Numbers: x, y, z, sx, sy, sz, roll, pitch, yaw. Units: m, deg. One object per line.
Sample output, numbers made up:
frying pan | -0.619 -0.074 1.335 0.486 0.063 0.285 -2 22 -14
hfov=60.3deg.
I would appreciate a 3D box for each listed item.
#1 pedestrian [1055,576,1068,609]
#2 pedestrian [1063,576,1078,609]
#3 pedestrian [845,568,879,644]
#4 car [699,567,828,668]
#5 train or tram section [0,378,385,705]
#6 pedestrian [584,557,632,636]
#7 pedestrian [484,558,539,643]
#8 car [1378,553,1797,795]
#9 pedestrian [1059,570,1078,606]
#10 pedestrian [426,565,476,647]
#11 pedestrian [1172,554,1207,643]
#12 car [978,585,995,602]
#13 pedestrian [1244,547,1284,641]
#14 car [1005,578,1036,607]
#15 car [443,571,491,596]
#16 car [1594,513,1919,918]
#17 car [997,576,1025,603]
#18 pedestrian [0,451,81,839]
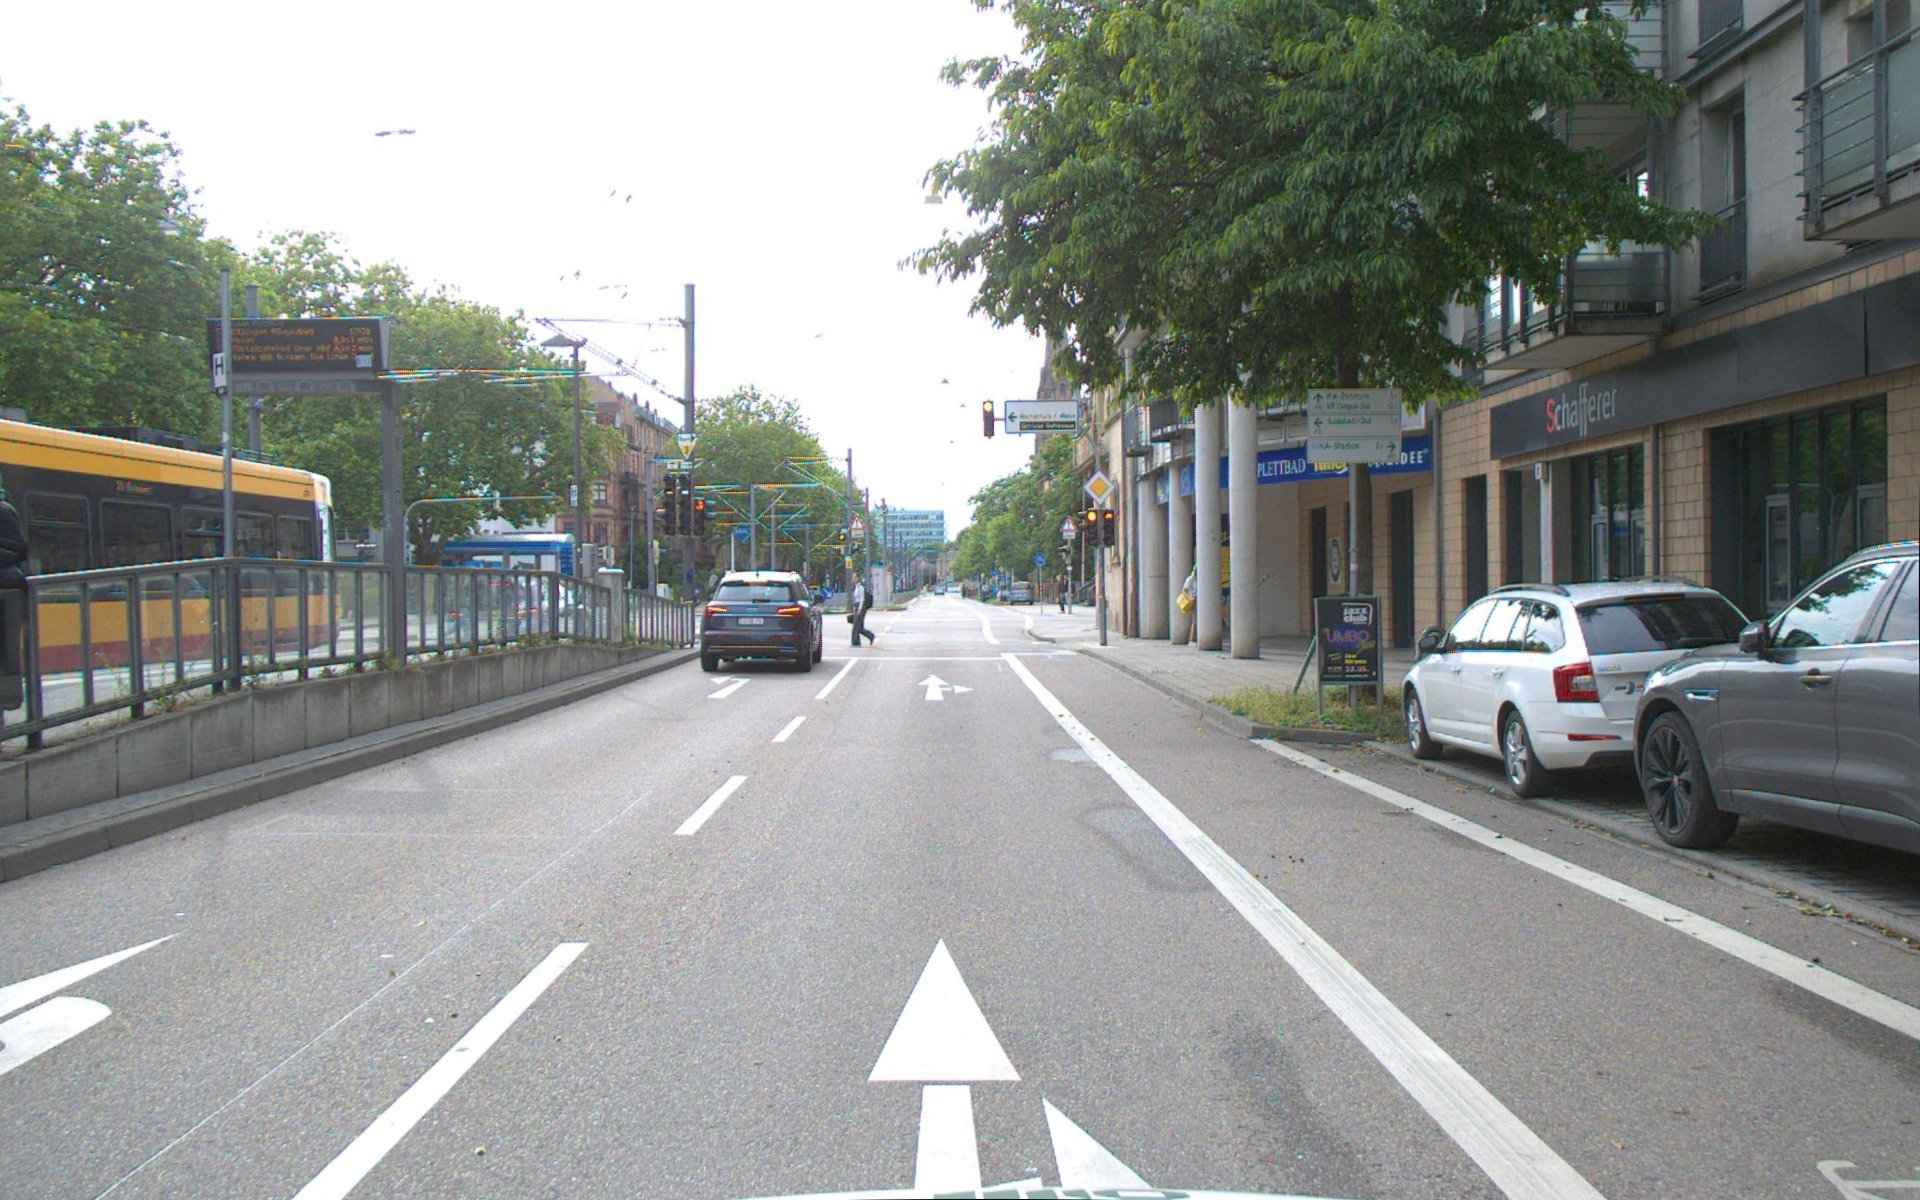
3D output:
pedestrian | 4.946 -0.367 80.777 0.535 1.564 0.465 0 0 -5
pedestrian | 5.379 -0.356 80.346 0.640 1.564 0.465 0 0 -5
pedestrian | -2.197 0.134 37.095 0.713 1.690 0.756 1 0 -1
car | -3.344 0.267 28.916 1.842 1.629 4.356 0 0 -2
train or tram section | -12.316 -0.705 23.457 2.998 3.651 15.846 1 0 -1
pedestrian | -8.259 -0.087 38.815 0.900 1.815 0.645 1 0 37
pedestrian | -9.745 0.009 35.940 1.113 1.810 0.625 0 0 -18
car | 4.765 0.474 13.282 1.642 1.525 4.390 -3 0 0
pedestrian | 5.188 -0.575 78.801 0.834 1.683 0.508 1 0 -3
pedestrian | -11.500 0.135 37.358 0.998 1.845 0.580 0 0 -24
pedestrian | 4.845 -0.040 34.928 0.603 1.837 0.737 -1 0 0
car | 3.213 -0.821 200.888 1.953 2.049 3.999 1 0 -1
pedestrian | 6.359 -0.129 34.597 0.661 1.923 0.737 -1 0 0
car | 4.321 -0.528 118.363 1.953 2.049 3.999 1 0 -1
car | -32.172 -1.080 108.079 1.953 1.557 3.999 1 0 -1
car | 4.907 0.448 7.934 1.677 1.746 4.709 -3 0 -2
car | 3.903 -0.786 127.790 1.953 2.049 3.999 1 0 -1
pedestrian | -5.310 0.233 9.056 0.747 2.049 0.807 0 0 -38
